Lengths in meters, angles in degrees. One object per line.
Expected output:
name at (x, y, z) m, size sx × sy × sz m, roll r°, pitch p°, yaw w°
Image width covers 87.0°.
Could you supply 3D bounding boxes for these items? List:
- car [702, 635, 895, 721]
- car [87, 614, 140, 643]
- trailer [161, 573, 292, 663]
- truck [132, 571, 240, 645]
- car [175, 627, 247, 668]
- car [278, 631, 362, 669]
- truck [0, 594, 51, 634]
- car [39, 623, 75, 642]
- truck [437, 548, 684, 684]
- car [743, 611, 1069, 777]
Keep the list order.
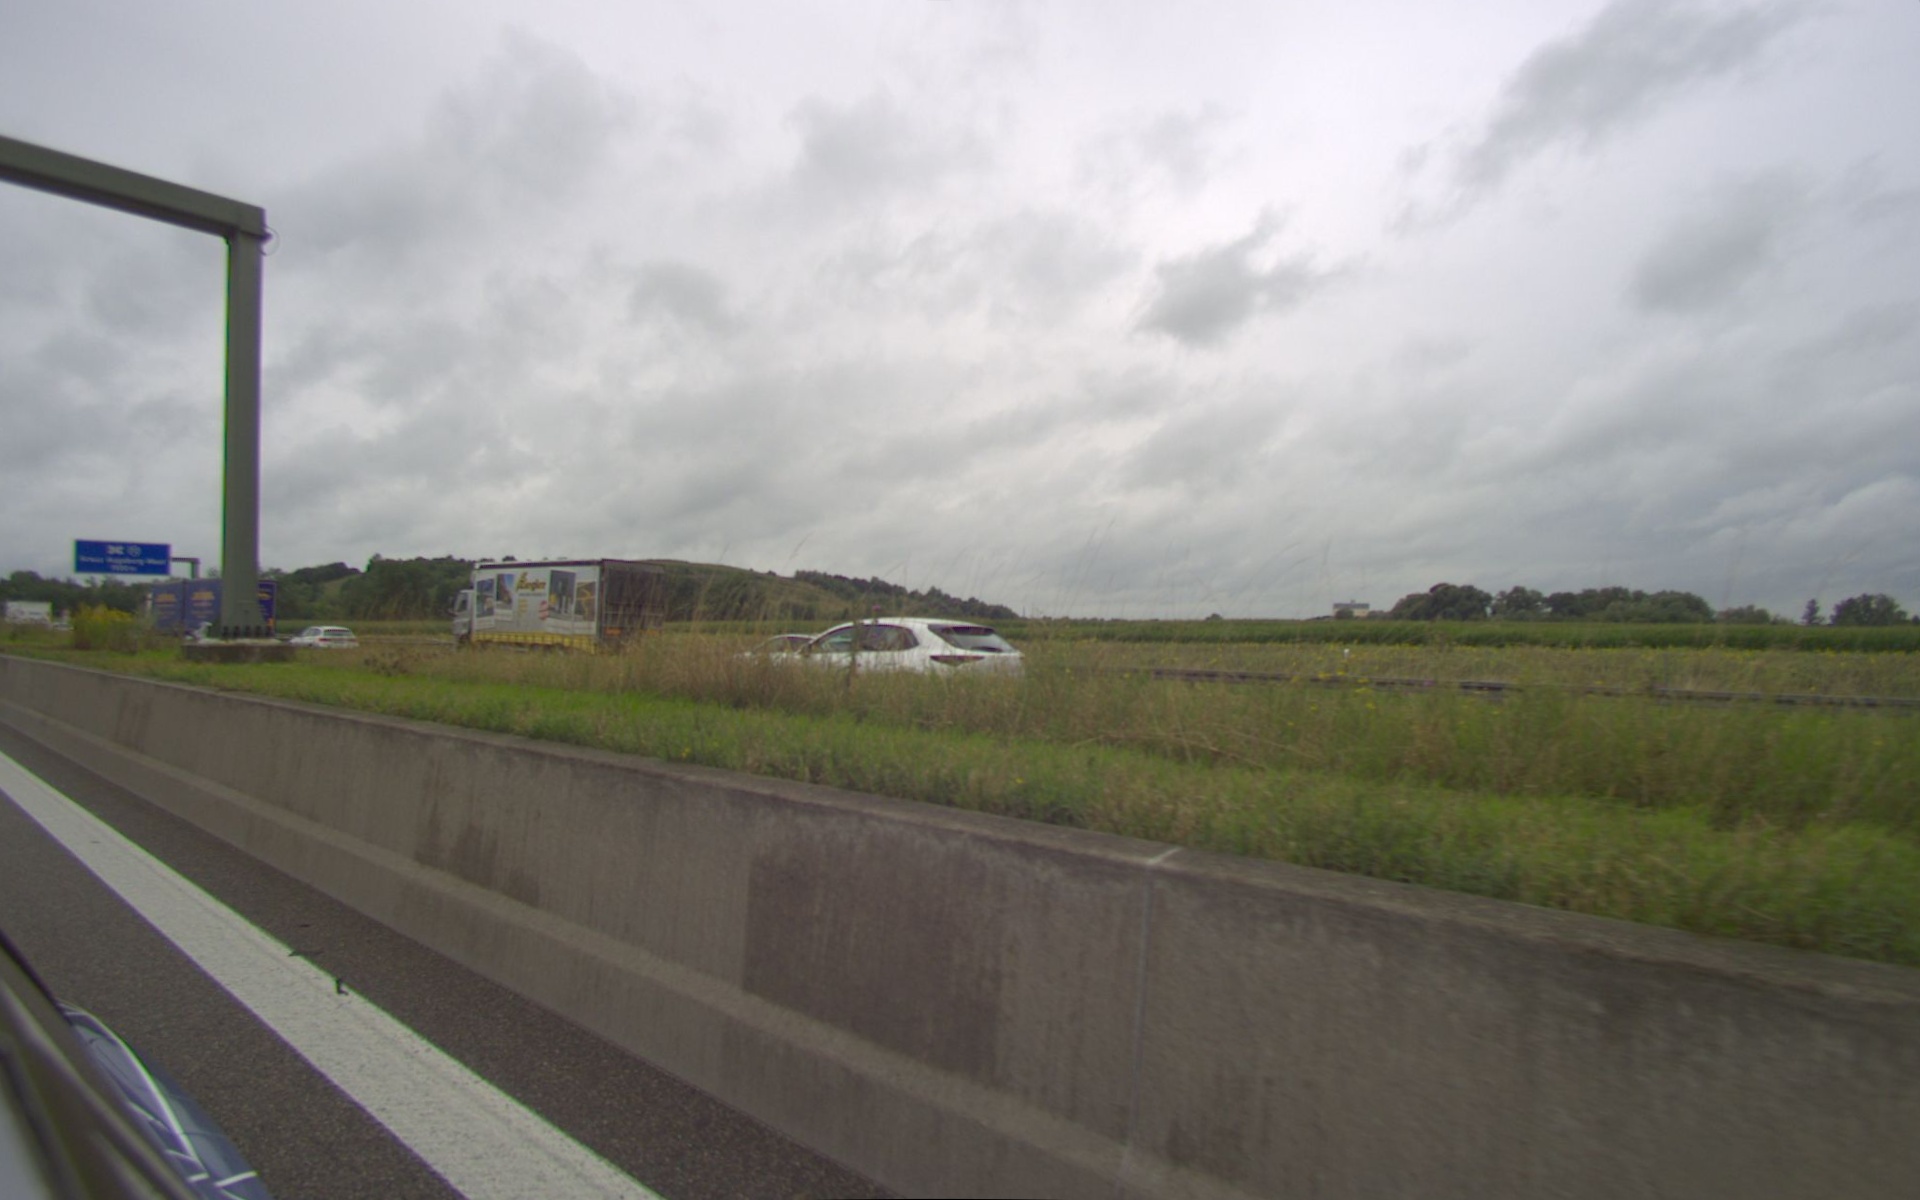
car at (-3.983, 1.786, 24.395) m, size 4.835 × 1.730 × 1.973 m, roll -1°, pitch 0°, yaw 41°
car at (-52.586, 1.767, 62.850) m, size 3.998 × 1.798 × 1.847 m, roll -1°, pitch -2°, yaw 41°
trailer at (-42.677, 1.035, 58.680) m, size 11.671 × 4.804 × 3.353 m, roll -1°, pitch 0°, yaw 40°
truck at (-49.615, 0.498, 64.715) m, size 10.985 × 4.396 × 3.377 m, roll -1°, pitch 0°, yaw 41°
car at (-33.405, 2.080, 45.103) m, size 3.998 × 1.721 × 1.736 m, roll -1°, pitch -2°, yaw 41°
car at (-29.751, 2.275, 47.008) m, size 5.010 × 1.628 × 1.863 m, roll -1°, pitch -2°, yaw 40°
truck at (-99.655, 1.477, 107.654) m, size 10.806 × 3.997 × 3.150 m, roll -1°, pitch 0°, yaw 42°
car at (-83.163, 2.971, 93.210) m, size 3.997 × 1.696 × 1.973 m, roll -1°, pitch 0°, yaw 41°
truck at (-15.526, 0.559, 38.579) m, size 11.776 × 4.517 × 3.477 m, roll -1°, pitch 0°, yaw 39°
car at (-0.785, 1.016, 12.711) m, size 3.998 × 1.730 × 1.762 m, roll -1°, pitch 0°, yaw 41°
